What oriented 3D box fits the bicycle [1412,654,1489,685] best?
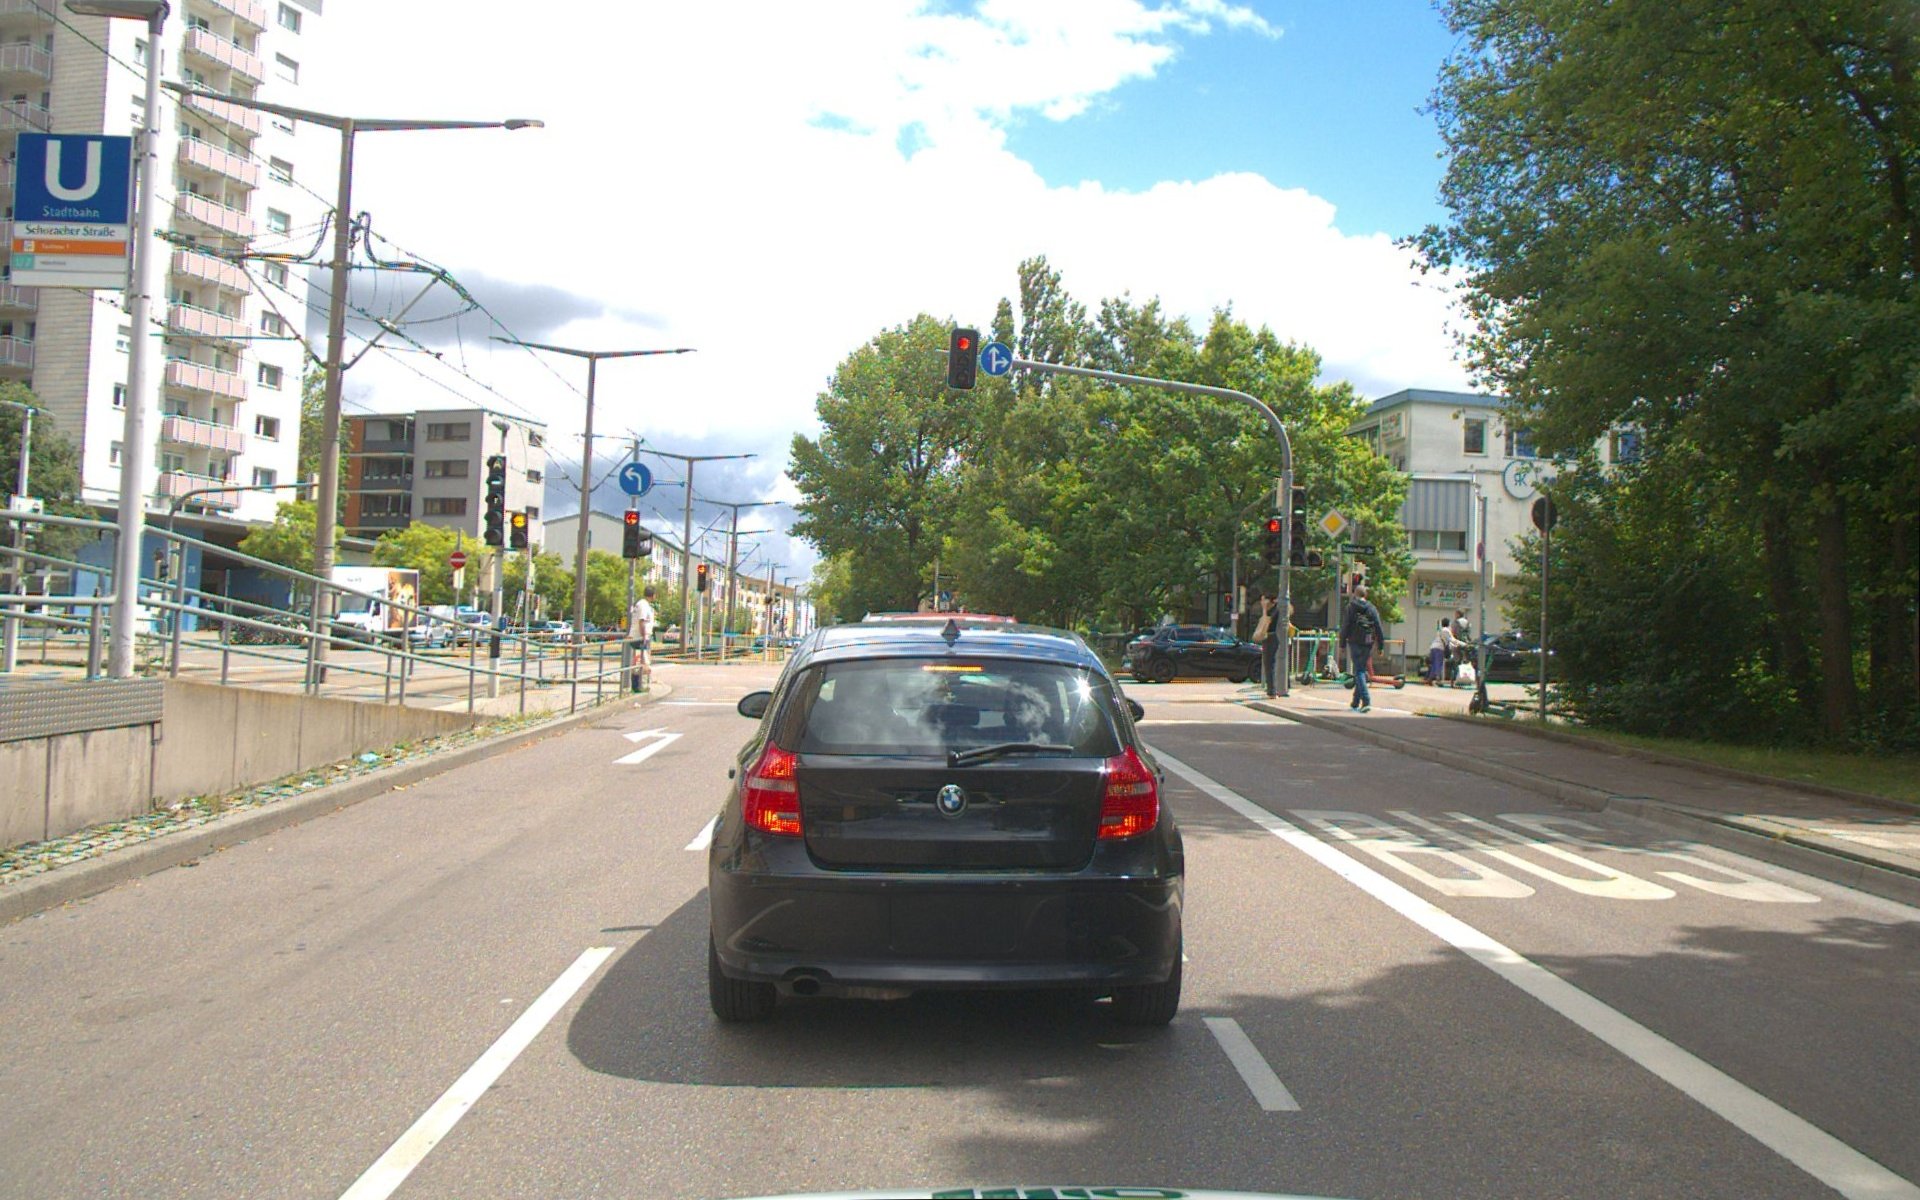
[{"bbox_3d":[10.673,1.515,36.006,1.551,0.620,0.535,1,-1,9],"label":"bicycle"}]

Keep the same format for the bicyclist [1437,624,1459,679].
[{"bbox_3d":[10.622,1.116,36.019,0.390,1.177,0.503,1,-1,8],"label":"bicyclist"}]

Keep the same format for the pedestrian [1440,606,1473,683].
[{"bbox_3d":[11.334,1.008,37.723,0.644,1.743,0.461,1,-1,25],"label":"pedestrian"}]

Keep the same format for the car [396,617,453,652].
[{"bbox_3d":[-23.415,1.491,72.426,1.379,1.486,3.772,2,-1,-3],"label":"car"}]

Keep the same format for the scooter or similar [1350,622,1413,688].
[{"bbox_3d":[8.659,1.114,33.984,1.127,1.294,0.555,2,-1,1],"label":"scooter or similar"}]

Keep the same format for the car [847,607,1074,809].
[{"bbox_3d":[-0.020,0.790,13.619,1.605,1.424,3.419,1,0,-1],"label":"car"}]

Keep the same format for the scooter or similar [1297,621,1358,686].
[{"bbox_3d":[7.331,1.060,33.018,1.087,1.257,0.539,1,-1,1],"label":"scooter or similar"}]

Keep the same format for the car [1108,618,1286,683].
[{"bbox_3d":[5.774,1.226,40.492,3.918,1.512,1.841,1,0,-14],"label":"car"}]

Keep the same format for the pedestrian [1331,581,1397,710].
[{"bbox_3d":[6.125,0.678,25.119,0.779,1.909,1.013,1,-1,2],"label":"pedestrian"}]

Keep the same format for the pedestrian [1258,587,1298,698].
[{"bbox_3d":[5.526,0.729,28.755,0.622,1.909,0.518,1,-1,8],"label":"pedestrian"}]

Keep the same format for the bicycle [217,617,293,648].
[{"bbox_3d":[-26.321,1.225,61.773,2.528,1.026,0.748,3,-3,-29],"label":"bicycle"}]

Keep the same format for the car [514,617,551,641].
[{"bbox_3d":[-28.805,1.935,111.451,1.559,1.500,3.773,2,-1,-2],"label":"car"}]

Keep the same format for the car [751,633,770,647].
[{"bbox_3d":[-21.143,4.214,175.463,1.758,1.434,3.997,1,0,-3],"label":"car"}]

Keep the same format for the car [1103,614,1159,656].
[{"bbox_3d":[8.212,1.666,79.796,1.694,1.904,3.991,2,-1,-9],"label":"car"}]

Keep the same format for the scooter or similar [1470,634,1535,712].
[{"bbox_3d":[9.400,1.261,28.657,0.872,1.251,0.454,6,-1,-1],"label":"scooter or similar"}]

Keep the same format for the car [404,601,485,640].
[{"bbox_3d":[-27.770,1.115,89.157,3.893,2.009,1.630,2,-1,-43],"label":"car"}]

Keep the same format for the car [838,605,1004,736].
[{"bbox_3d":[-0.477,0.816,21.081,1.862,1.447,4.538,1,0,-1],"label":"car"}]

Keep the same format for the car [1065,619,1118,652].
[{"bbox_3d":[7.179,1.938,90.762,1.830,1.691,3.988,2,-1,-12],"label":"car"}]

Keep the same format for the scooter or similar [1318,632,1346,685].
[{"bbox_3d":[7.872,1.228,35.000,0.536,1.082,1.263,1,0,13],"label":"scooter or similar"}]

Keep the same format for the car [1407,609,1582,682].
[{"bbox_3d":[15.578,1.307,48.326,4.451,2.049,1.996,1,0,-9],"label":"car"}]

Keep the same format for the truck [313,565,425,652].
[{"bbox_3d":[-23.033,0.354,64.799,2.237,3.172,7.311,2,-1,-5],"label":"truck"}]

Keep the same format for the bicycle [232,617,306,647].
[{"bbox_3d":[-26.706,1.240,63.926,2.528,1.026,0.748,3,-3,-29],"label":"bicycle"}]

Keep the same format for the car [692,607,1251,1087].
[{"bbox_3d":[0.015,0.760,6.717,1.666,1.424,3.419,1,0,-1],"label":"car"}]

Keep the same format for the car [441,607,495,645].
[{"bbox_3d":[-23.889,1.257,80.378,1.559,1.787,3.773,2,-1,-2],"label":"car"}]

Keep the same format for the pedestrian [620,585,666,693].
[{"bbox_3d":[-5.258,0.643,27.412,0.676,1.764,0.684,1,-1,-17],"label":"pedestrian"}]

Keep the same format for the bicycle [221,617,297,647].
[{"bbox_3d":[-26.566,1.237,62.692,2.528,1.026,0.748,3,-3,-29],"label":"bicycle"}]
